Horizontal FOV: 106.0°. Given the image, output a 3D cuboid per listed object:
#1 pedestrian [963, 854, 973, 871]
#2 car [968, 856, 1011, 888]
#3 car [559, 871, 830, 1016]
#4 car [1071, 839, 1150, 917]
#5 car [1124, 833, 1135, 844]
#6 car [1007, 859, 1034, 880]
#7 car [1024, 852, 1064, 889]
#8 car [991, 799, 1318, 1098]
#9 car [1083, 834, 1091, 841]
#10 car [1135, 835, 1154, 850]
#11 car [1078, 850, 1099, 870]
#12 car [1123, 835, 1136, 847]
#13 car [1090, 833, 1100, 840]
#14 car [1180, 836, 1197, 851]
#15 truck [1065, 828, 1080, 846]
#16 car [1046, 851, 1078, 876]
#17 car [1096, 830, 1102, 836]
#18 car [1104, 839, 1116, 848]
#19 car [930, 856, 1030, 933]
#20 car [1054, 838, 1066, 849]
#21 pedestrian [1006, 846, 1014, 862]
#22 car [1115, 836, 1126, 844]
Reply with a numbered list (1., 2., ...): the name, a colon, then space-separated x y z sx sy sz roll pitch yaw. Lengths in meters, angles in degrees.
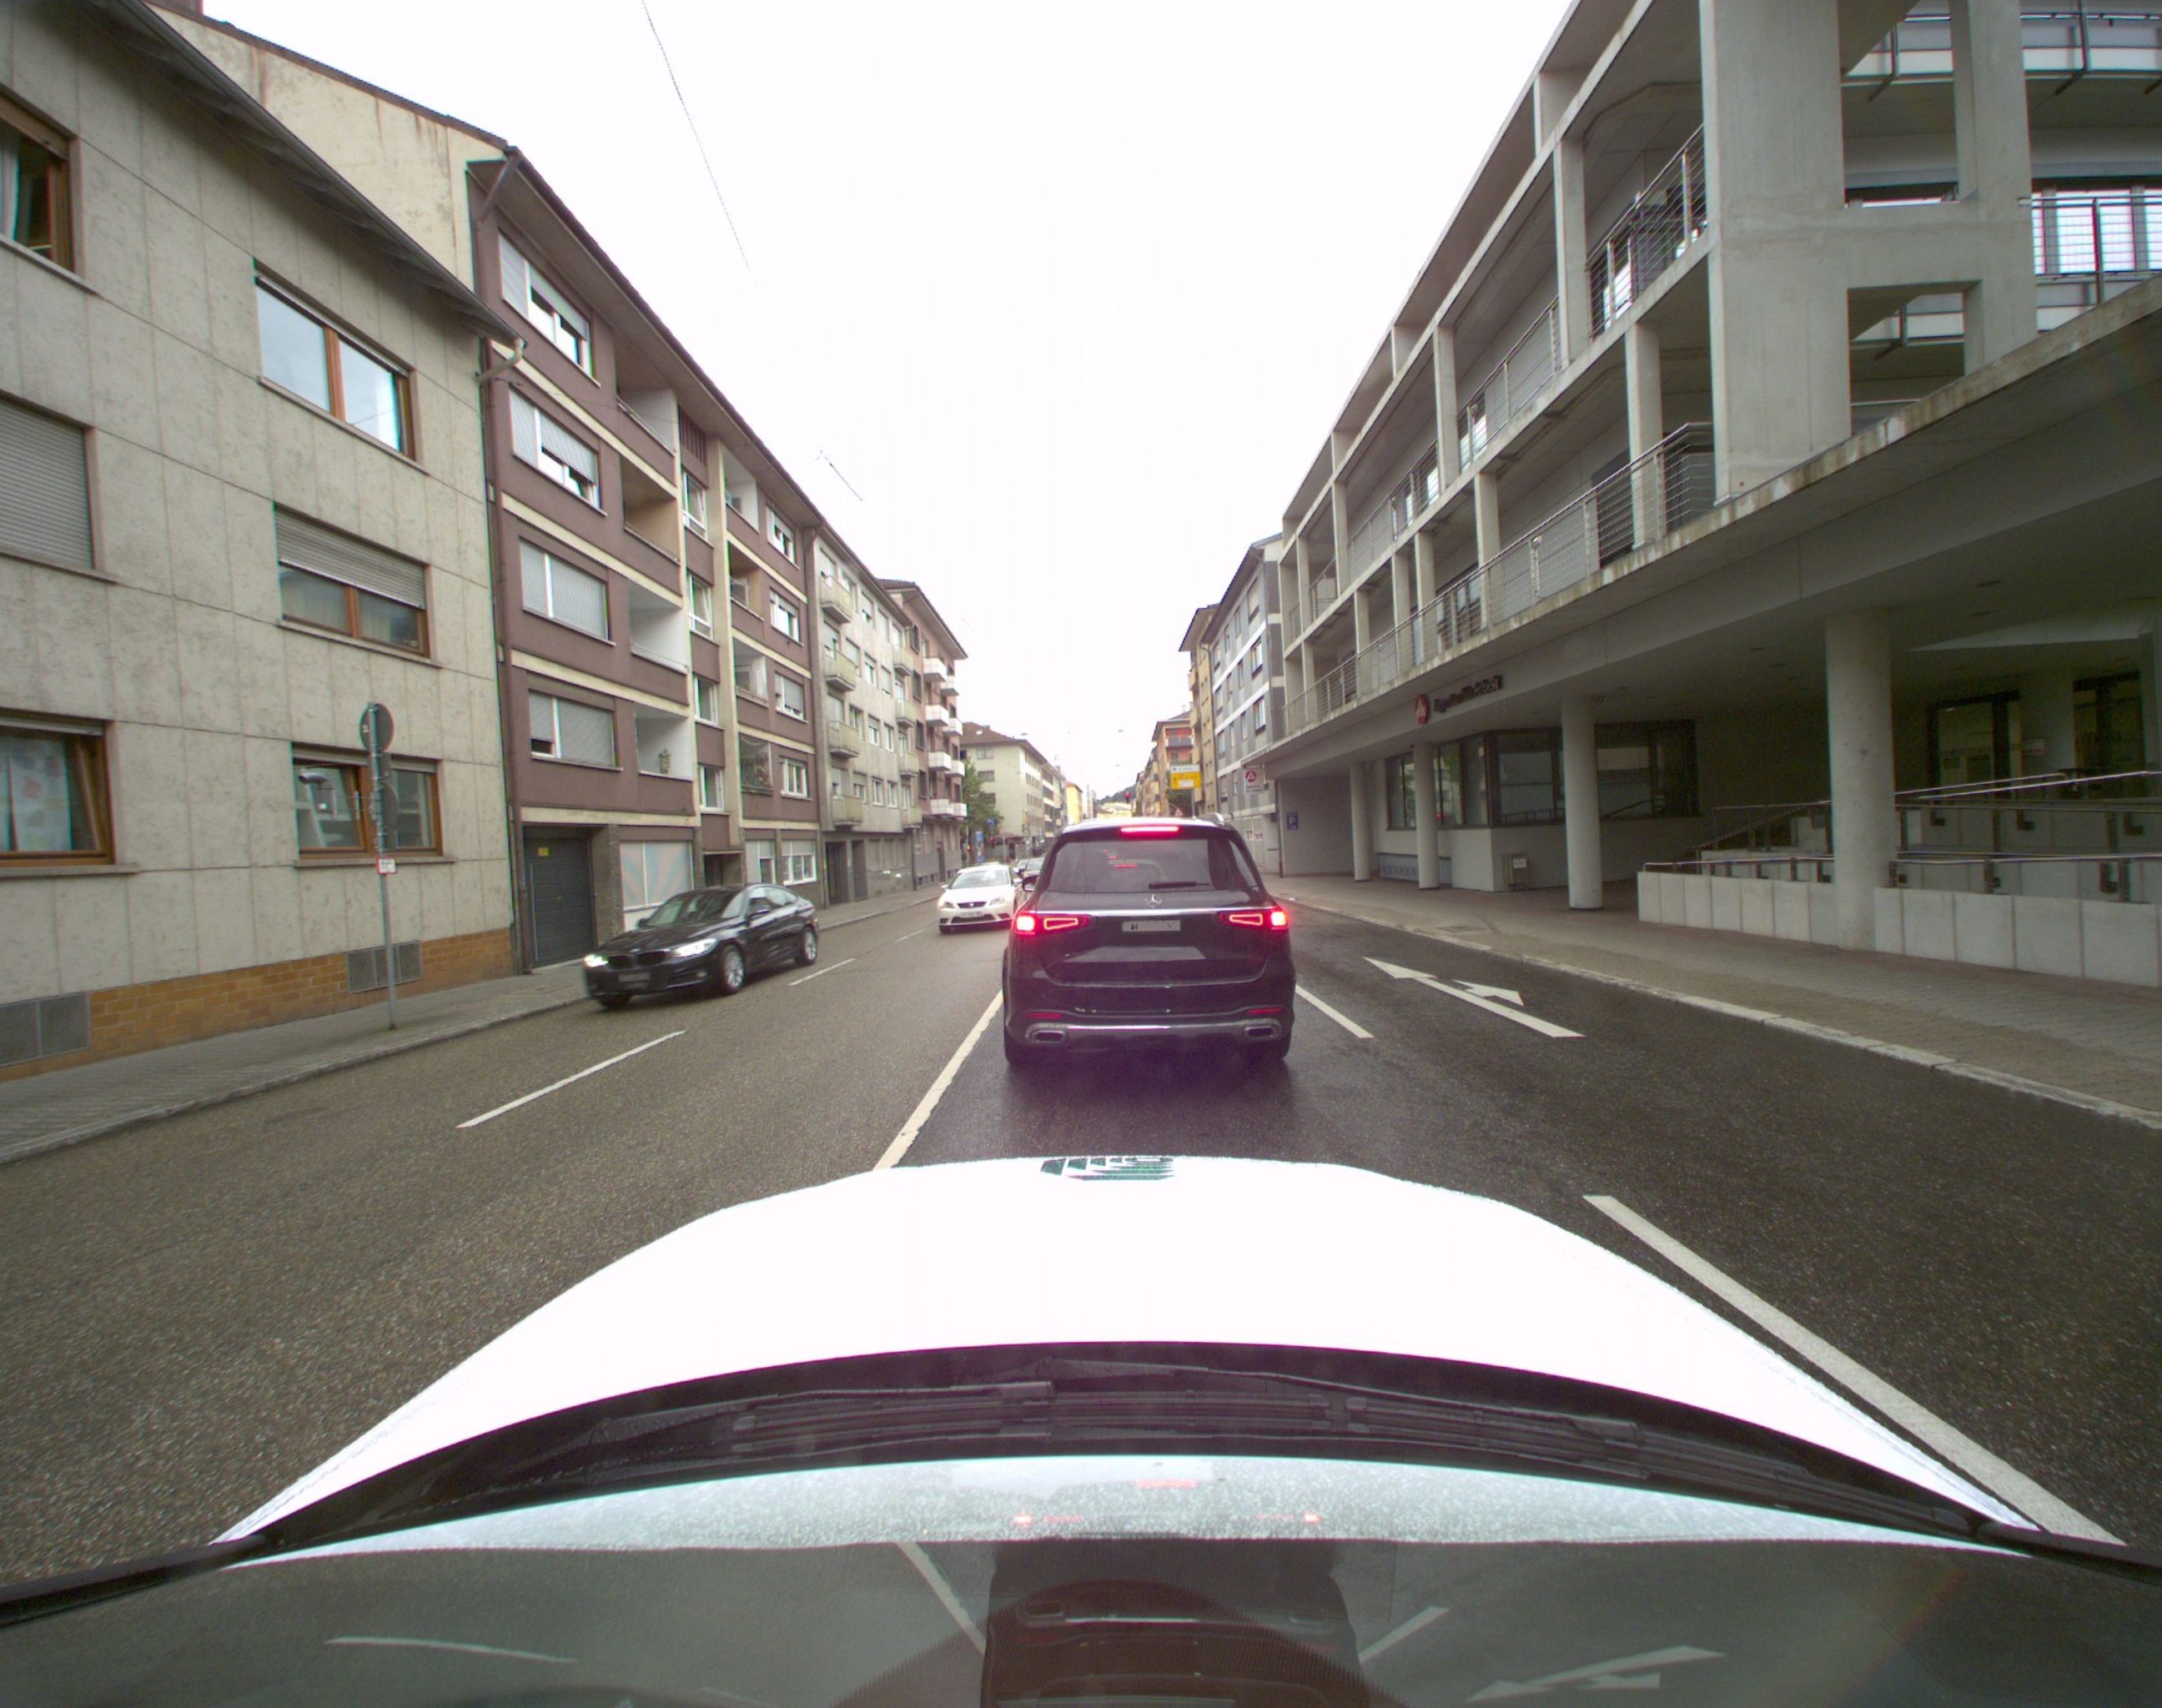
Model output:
1. pedestrian: -12.581 0.950 90.486 0.763 1.764 0.641 -3 0 42
2. car: -4.886 0.930 43.945 1.717 1.473 4.374 -5 0 0
3. car: -5.468 1.150 12.280 1.689 1.539 4.438 -7 -1 2
4. car: 0.670 0.576 20.978 1.746 1.731 4.216 -3 -1 0
5. car: 8.328 -2.650 140.714 1.613 1.539 4.216 -5 -1 0
6. car: -4.718 1.194 63.865 1.689 1.370 4.366 -5 -1 0
7. car: -1.679 0.752 38.184 1.613 1.539 4.216 -5 -1 0
8. car: 0.513 0.592 7.156 1.977 1.805 4.391 0 -1 2
9. car: 1.456 -3.971 193.990 1.613 1.539 4.216 -5 -1 0
10. car: 6.896 -1.248 88.825 1.613 1.387 4.216 -5 -1 0
11. car: 0.663 0.538 73.504 1.689 1.580 4.218 -5 -1 1
12. car: 7.423 -1.988 124.137 1.613 1.539 4.216 -5 -1 0
13. car: 2.830 -3.503 163.724 1.879 1.264 4.216 -5 -1 0
14. car: 12.480 -1.181 94.558 1.664 1.588 3.334 -3 0 4
15. truck: -1.597 -3.190 157.390 2.472 3.046 9.917 -4 -1 0
16. car: -1.208 0.601 52.440 1.688 1.370 4.220 -5 -1 2
17. car: 5.551 -6.398 250.505 1.613 1.539 4.216 -5 -1 0
18. car: 4.981 -1.816 141.252 1.986 1.488 4.002 -4 0 2
19. car: -2.313 0.890 19.717 1.738 1.539 4.053 -5 -1 1
20. car: -3.385 -1.723 131.967 1.613 1.539 4.216 -5 -1 0
21. pedestrian: -8.939 -0.026 102.397 0.920 1.902 0.706 -3 0 0
22. car: 7.725 -2.684 158.494 1.879 1.372 4.216 -5 -1 0
